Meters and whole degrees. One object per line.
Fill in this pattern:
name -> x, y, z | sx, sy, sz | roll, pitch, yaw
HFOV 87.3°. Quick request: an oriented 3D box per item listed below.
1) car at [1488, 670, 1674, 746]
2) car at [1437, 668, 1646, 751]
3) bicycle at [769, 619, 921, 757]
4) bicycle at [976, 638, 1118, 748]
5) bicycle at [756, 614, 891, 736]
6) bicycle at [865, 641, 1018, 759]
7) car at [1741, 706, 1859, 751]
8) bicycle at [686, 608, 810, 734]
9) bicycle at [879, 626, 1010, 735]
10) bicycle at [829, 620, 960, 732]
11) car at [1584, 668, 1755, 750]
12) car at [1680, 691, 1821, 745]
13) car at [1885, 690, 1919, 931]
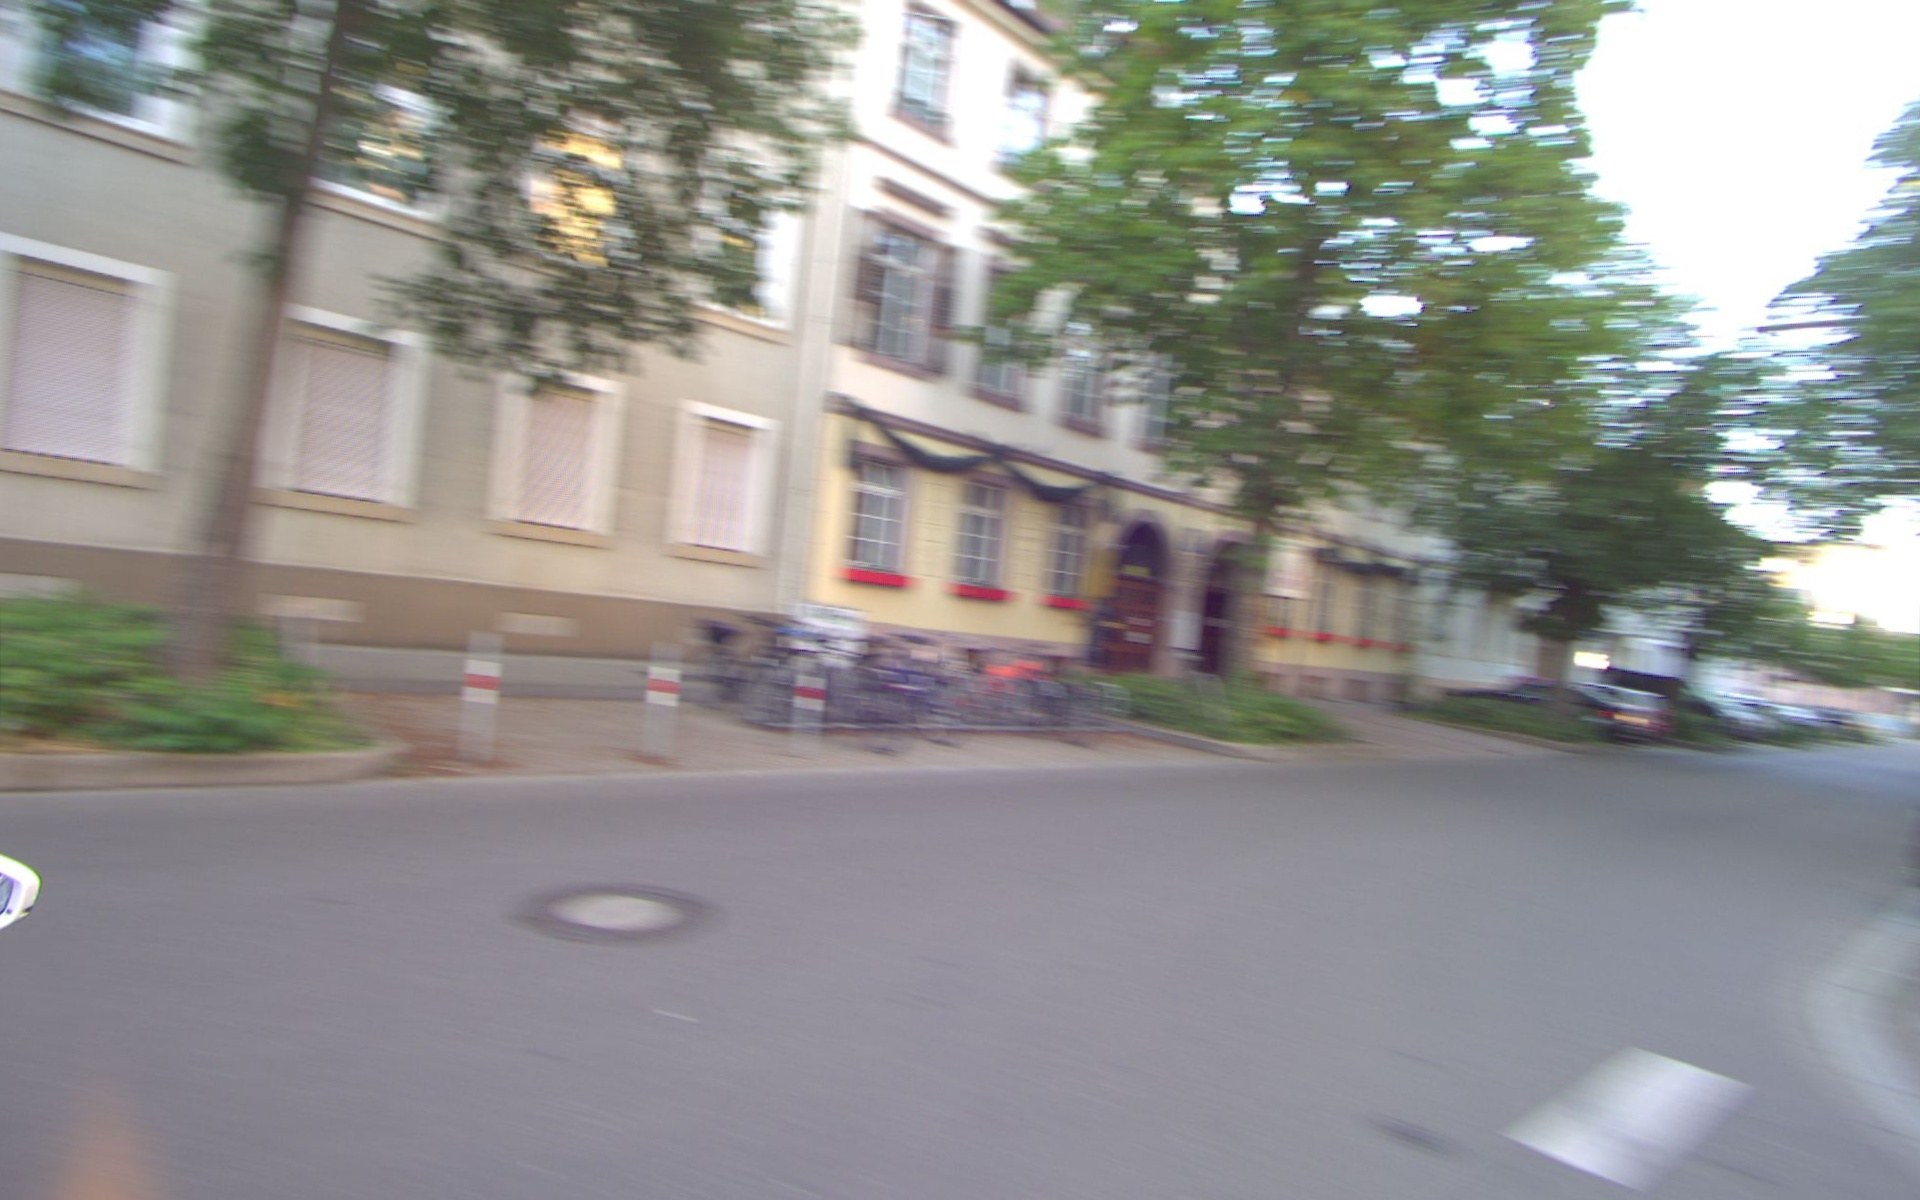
car -> 18.851, 3.247, 30.714 | 1.763, 1.633, 4.398 | 7, 0, -39
car -> 15.416, 2.873, 26.877 | 1.763, 1.524, 4.398 | 7, 0, -39
bicycle -> -1.250, 0.880, 10.525 | 0.443, 1.160, 2.020 | 6, 1, -39
bicycle -> 1.101, 1.183, 13.234 | 0.418, 1.160, 2.019 | 6, 1, -41
bicycle -> -1.637, 0.837, 11.748 | 0.418, 1.160, 2.019 | 6, 1, -41
bicycle -> -0.255, 1.083, 11.272 | 0.418, 1.016, 2.019 | 6, 1, -41
car -> 43.992, 6.716, 52.763 | 1.763, 1.633, 4.398 | 7, 0, -39
bicycle -> -2.415, 0.750, 11.232 | 0.442, 1.160, 2.021 | 6, 0, -37
bicycle -> -0.241, 1.024, 13.243 | 0.418, 1.160, 2.019 | 6, 1, -41
bicycle -> -0.873, 0.934, 12.762 | 0.418, 1.160, 2.019 | 6, 1, -41
car -> 24.586, 3.743, 35.006 | 1.763, 2.149, 4.398 | 6, 0, -39
car -> 34.118, 5.078, 43.513 | 1.763, 1.633, 4.398 | 7, 0, -39
car -> 9.114, 1.700, 6.354 | 1.762, 1.760, 4.544 | 5, -1, -39
